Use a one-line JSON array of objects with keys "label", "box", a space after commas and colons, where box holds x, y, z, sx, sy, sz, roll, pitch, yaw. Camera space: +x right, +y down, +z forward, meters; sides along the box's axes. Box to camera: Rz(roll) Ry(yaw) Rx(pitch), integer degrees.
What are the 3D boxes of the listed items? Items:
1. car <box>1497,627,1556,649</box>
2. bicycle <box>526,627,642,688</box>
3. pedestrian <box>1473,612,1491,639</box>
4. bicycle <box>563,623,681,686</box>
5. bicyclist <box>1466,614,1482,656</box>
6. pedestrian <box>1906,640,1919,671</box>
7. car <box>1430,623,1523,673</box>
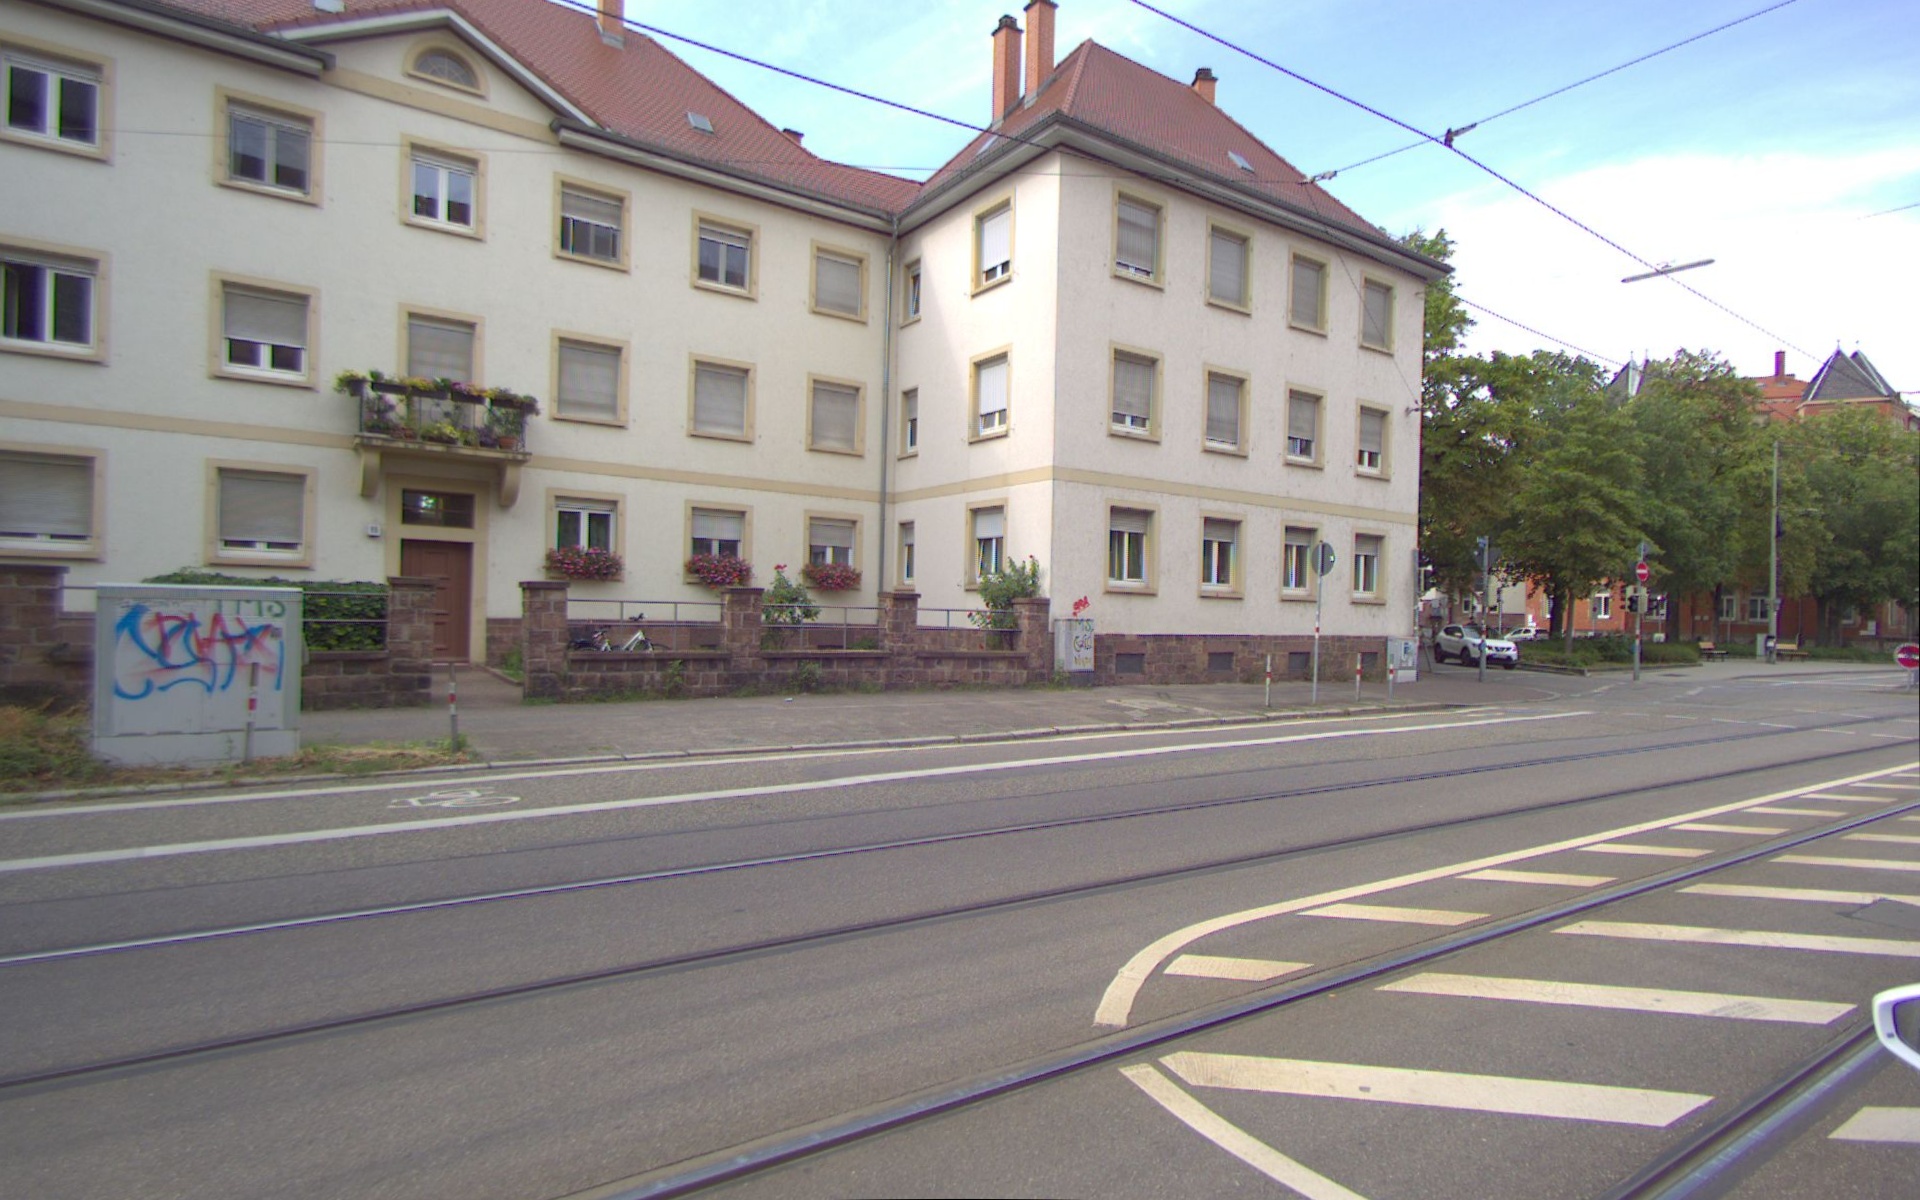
[{"label": "car", "box": [43.000, 2.859, 76.351, 1.783, 1.497, 3.992, 2, -1, -11]}, {"label": "bicycle", "box": [-6.009, 0.917, 16.095, 1.655, 0.927, 0.475, 2, -1, -34]}, {"label": "pedestrian", "box": [34.926, 1.687, 67.209, 0.720, 1.777, 0.751, 1, 0, -15]}, {"label": "bicycle", "box": [-5.195, 0.833, 15.483, 1.655, 0.927, 0.475, 2, -1, -34]}, {"label": "bicyclist", "box": [22.469, 1.528, 43.897, 0.601, 1.799, 0.909, 1, -1, 29]}, {"label": "pedestrian", "box": [54.106, 3.138, 56.758, 0.726, 1.725, 0.826, 2, -1, -39]}, {"label": "car", "box": [20.088, 1.877, 39.250, 1.804, 1.743, 4.163, 3, -3, 6]}]
